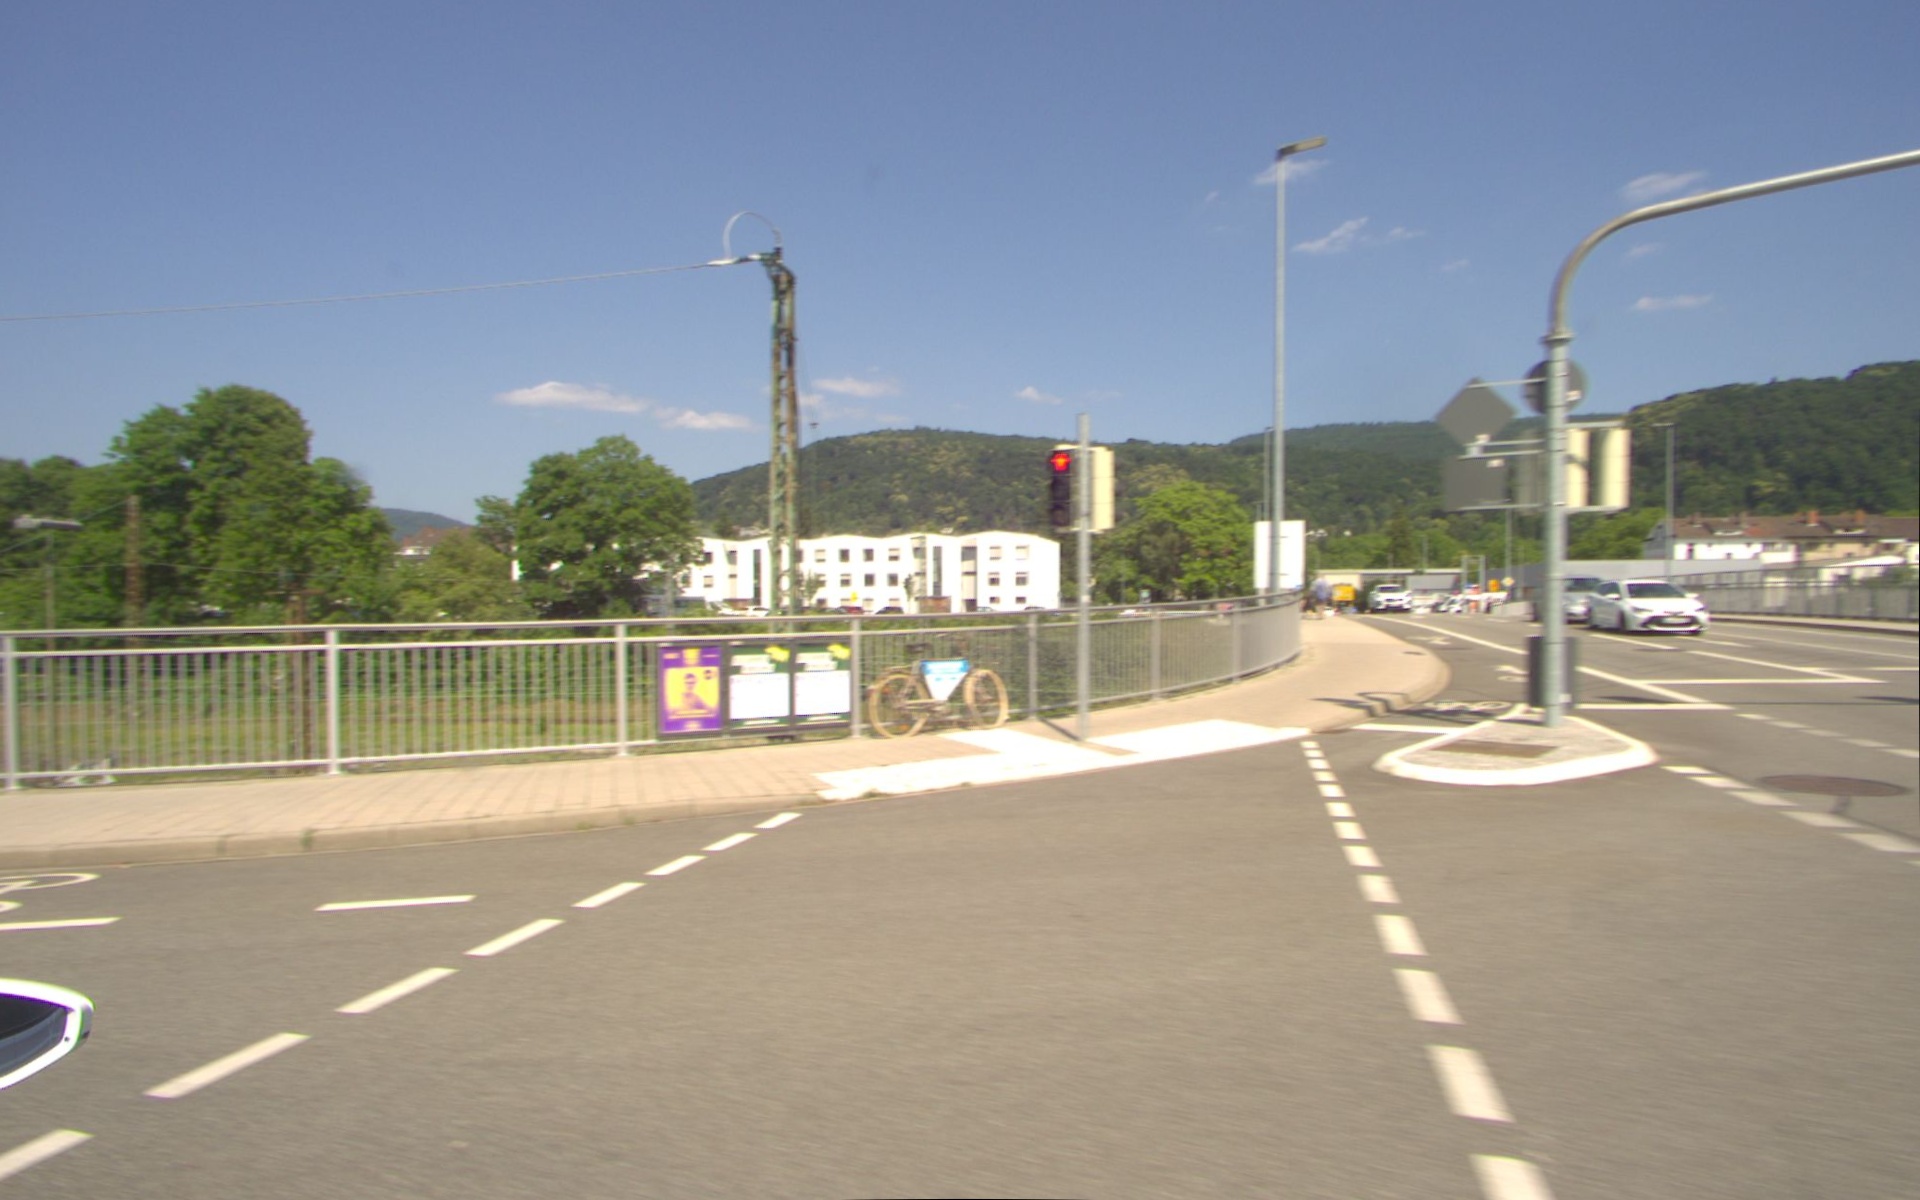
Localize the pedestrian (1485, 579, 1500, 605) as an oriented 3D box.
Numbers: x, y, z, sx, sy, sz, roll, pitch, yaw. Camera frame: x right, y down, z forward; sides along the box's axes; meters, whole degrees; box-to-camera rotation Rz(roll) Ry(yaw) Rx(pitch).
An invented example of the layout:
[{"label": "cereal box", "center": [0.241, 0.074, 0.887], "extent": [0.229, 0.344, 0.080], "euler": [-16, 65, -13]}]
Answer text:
[{"label": "pedestrian", "center": [42.935, -0.653, 80.740], "extent": [0.842, 2.041, 1.153], "euler": [0, 1, 16]}]

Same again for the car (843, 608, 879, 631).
[{"label": "car", "center": [-9.093, 1.744, 92.212], "extent": [1.963, 2.040, 4.465], "euler": [0, 0, 14]}]

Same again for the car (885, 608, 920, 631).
[{"label": "car", "center": [-5.204, 1.738, 90.972], "extent": [1.963, 2.040, 4.465], "euler": [0, 0, 14]}]

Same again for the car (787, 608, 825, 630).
[{"label": "car", "center": [-14.456, 1.753, 94.152], "extent": [1.963, 2.040, 4.465], "euler": [0, 0, 14]}]

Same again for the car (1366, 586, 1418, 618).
[{"label": "car", "center": [24.085, 0.103, 56.001], "extent": [1.963, 1.742, 4.627], "euler": [0, 0, 15]}]

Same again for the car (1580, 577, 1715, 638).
[{"label": "car", "center": [18.321, 0.175, 26.927], "extent": [1.705, 1.489, 4.403], "euler": [0, 0, 17]}]

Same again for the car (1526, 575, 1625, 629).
[{"label": "car", "center": [20.392, 0.057, 33.346], "extent": [1.705, 1.648, 4.435], "euler": [0, 0, 17]}]

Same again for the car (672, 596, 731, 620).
[{"label": "car", "center": [-23.461, 0.742, 91.076], "extent": [4.894, 2.141, 1.999], "euler": [0, 1, -3]}]

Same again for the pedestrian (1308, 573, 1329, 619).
[{"label": "pedestrian", "center": [12.863, -0.132, 35.954], "extent": [0.633, 1.639, 0.919], "euler": [0, 1, 16]}]

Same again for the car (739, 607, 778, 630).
[{"label": "car", "center": [-19.414, 1.761, 96.629], "extent": [1.963, 2.040, 4.465], "euler": [0, 0, 14]}]

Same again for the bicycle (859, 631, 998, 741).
[{"label": "bicycle", "center": [-0.324, 0.919, 11.036], "extent": [1.597, 1.115, 0.296], "euler": [0, 1, -32]}]
